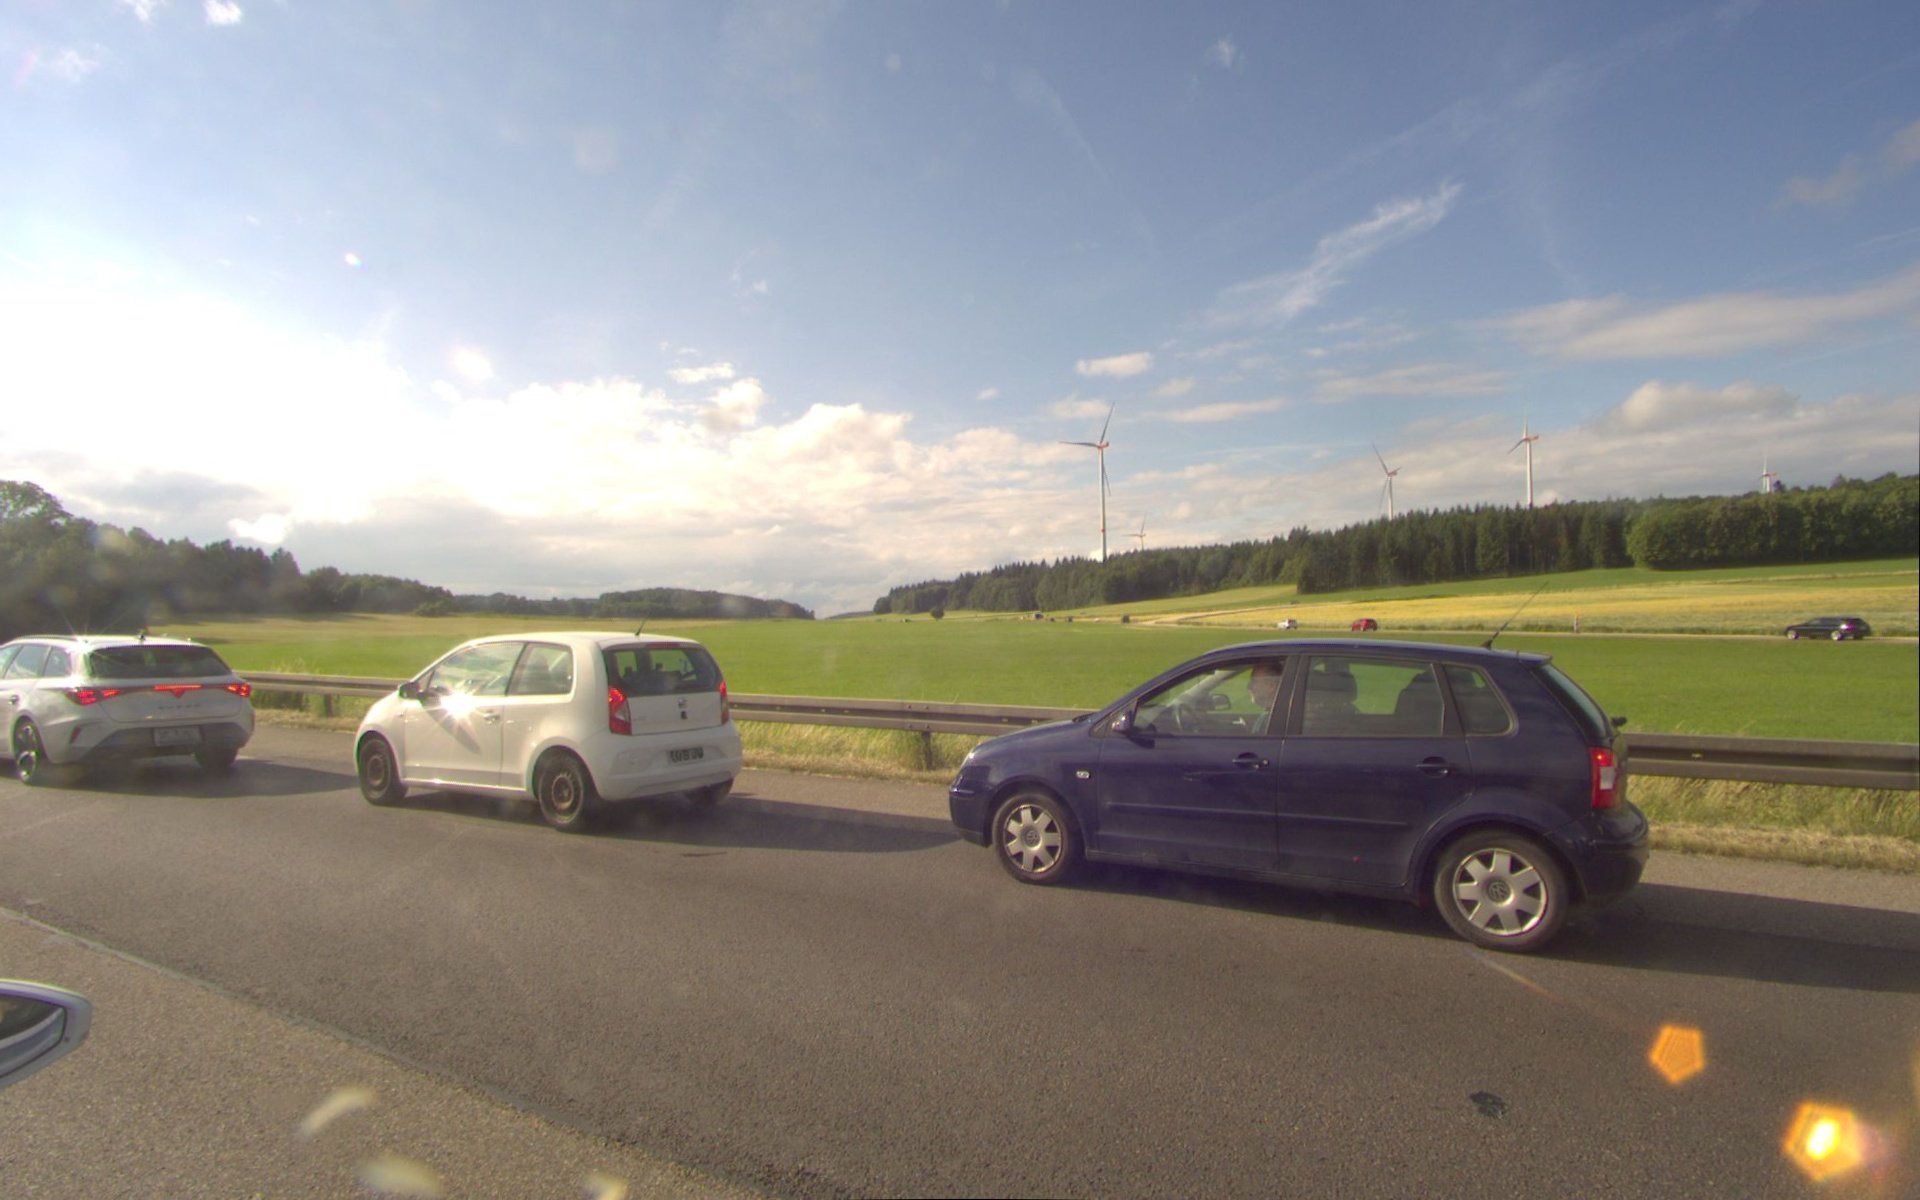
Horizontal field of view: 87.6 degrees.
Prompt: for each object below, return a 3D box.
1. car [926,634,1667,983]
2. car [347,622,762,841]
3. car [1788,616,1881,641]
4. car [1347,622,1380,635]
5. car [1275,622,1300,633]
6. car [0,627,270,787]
[{"bbox_3d":[1.813,0.943,5.927,3.719,1.464,1.708,-1,-2,31],"label":"car"},{"bbox_3d":[-3.483,0.963,8.533,3.326,1.514,1.547,0,-1,29],"label":"car"},{"bbox_3d":[54.555,1.800,62.575,1.803,1.505,4.221,0,-2,-6],"label":"car"},{"bbox_3d":[47.523,3.361,118.110,1.803,1.505,4.221,0,-2,-6],"label":"car"},{"bbox_3d":[45.685,3.845,139.791,1.803,1.505,4.288,0,-2,-6],"label":"car"},{"bbox_3d":[-9.464,1.045,10.874,4.084,1.464,1.619,-1,-2,29],"label":"car"}]
